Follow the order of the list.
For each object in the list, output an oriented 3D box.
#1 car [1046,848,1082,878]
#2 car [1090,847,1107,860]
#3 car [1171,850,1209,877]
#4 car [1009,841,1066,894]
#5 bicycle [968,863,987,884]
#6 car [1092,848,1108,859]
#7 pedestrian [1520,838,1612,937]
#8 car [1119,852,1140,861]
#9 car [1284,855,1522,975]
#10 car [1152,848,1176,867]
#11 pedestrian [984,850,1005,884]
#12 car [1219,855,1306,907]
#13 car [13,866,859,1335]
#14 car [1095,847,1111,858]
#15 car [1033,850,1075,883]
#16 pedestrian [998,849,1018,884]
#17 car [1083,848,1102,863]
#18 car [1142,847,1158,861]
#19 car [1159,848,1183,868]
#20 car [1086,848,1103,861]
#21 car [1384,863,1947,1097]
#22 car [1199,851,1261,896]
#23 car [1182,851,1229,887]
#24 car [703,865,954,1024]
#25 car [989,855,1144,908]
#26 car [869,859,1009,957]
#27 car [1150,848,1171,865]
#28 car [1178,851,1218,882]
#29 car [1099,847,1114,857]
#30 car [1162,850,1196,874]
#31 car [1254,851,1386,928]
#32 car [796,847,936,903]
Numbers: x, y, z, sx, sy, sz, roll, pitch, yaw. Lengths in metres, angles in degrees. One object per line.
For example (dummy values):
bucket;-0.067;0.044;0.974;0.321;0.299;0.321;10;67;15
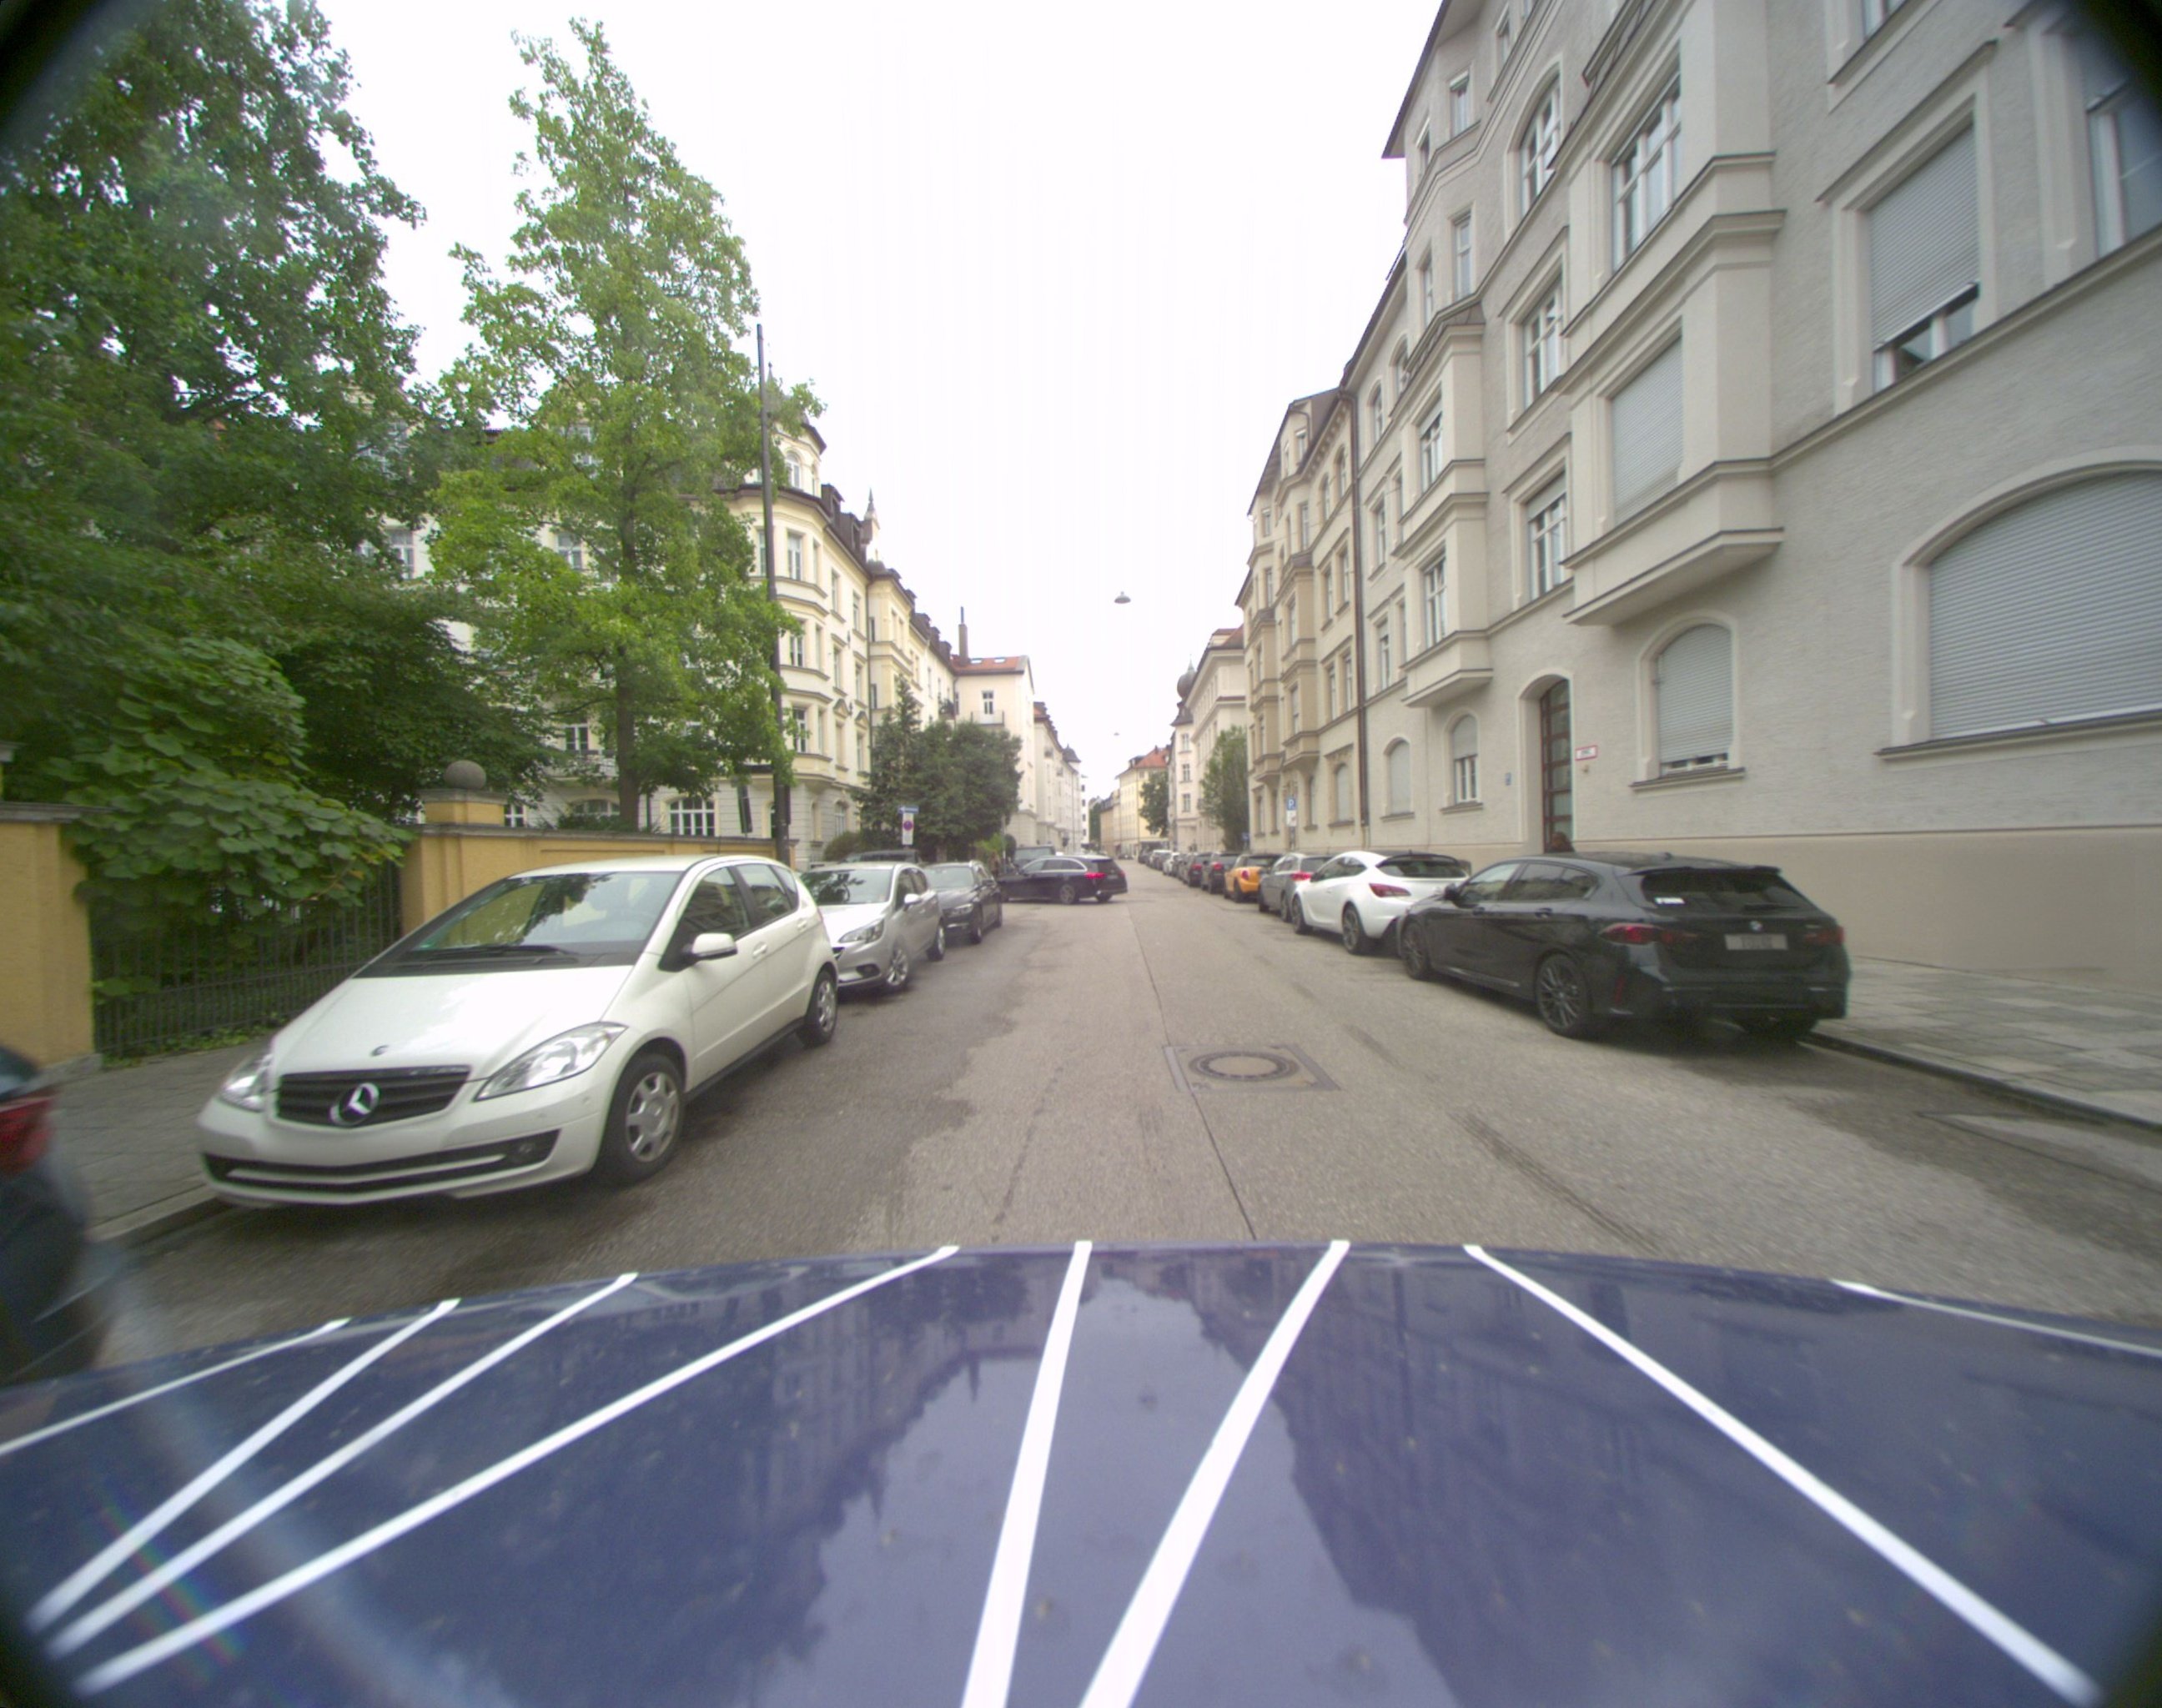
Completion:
car;-1.012;0.545;47.645;1.998;1.585;4.299;-5;0;1
car;2.537;-0.045;110.087;1.998;1.672;4.300;-5;0;5
car;6.143;0.527;43.011;1.627;1.421;3.689;-1;1;0
car;-1.770;0.532;32.517;1.998;1.949;4.433;-5;0;0
bicycle;-5.226;0.963;38.446;0.448;0.979;1.780;-2;1;7
car;2.972;-0.099;115.509;1.998;1.585;4.429;-5;0;5
pedestrian;8.216;0.540;12.926;0.876;1.599;1.052;-2;1;1
car;9.337;0.433;146.493;2.003;1.641;3.991;-2;1;-29
car;4.670;0.782;11.815;1.860;1.455;4.378;-1;1;0
car;6.831;0.238;62.843;1.627;1.522;3.689;-1;1;2
pedestrian;-4.473;0.663;39.469;0.876;1.680;1.052;-2;1;1
car;5.228;0.723;22.355;1.810;1.355;3.730;-1;1;3
car;-2.961;0.934;4.914;1.717;1.561;4.319;-2;1;0
car;3.520;-0.297;120.362;1.997;1.585;4.301;-5;0;7
car;-1.465;0.670;42.701;1.998;1.643;4.448;-5;0;0
pedestrian;-3.766;0.629;39.326;0.876;1.746;1.052;-2;1;1
car;1.468;0.167;95.384;1.998;1.585;4.300;-5;0;4
car;8.074;-0.018;89.436;1.627;1.522;3.920;-1;1;2
car;6.825;0.283;58.056;1.626;1.421;3.690;-1;1;4
car;1.885;0.052;104.974;1.998;1.585;4.300;-5;0;4
car;4.612;0.837;7.054;1.860;1.404;4.378;0;1;0
car;5.282;0.638;27.280;1.626;1.448;3.941;-1;1;3
car;5.337;0.595;32.936;1.626;1.421;3.942;-1;1;4
car;-2.856;0.928;9.638;1.717;1.445;4.183;-2;1;0
car;-0.512;0.800;23.064;4.569;1.405;1.797;-1;1;38
car;-2.525;0.887;14.709;1.717;1.445;4.955;-2;1;0
car;7.098;0.196;68.279;1.627;1.522;3.920;-1;1;2
car;5.767;0.574;37.837;1.626;1.421;3.589;-1;1;4
car;4.390;-0.354;129.201;1.997;1.585;4.301;-5;0;8
car;6.096;0.486;47.550;1.627;1.421;3.689;-1;1;0
car;5.054;0.686;16.641;1.810;1.455;3.938;-1;1;3
car;-7.868;0.778;28.111;4.678;1.860;1.742;-2;-2;-4
